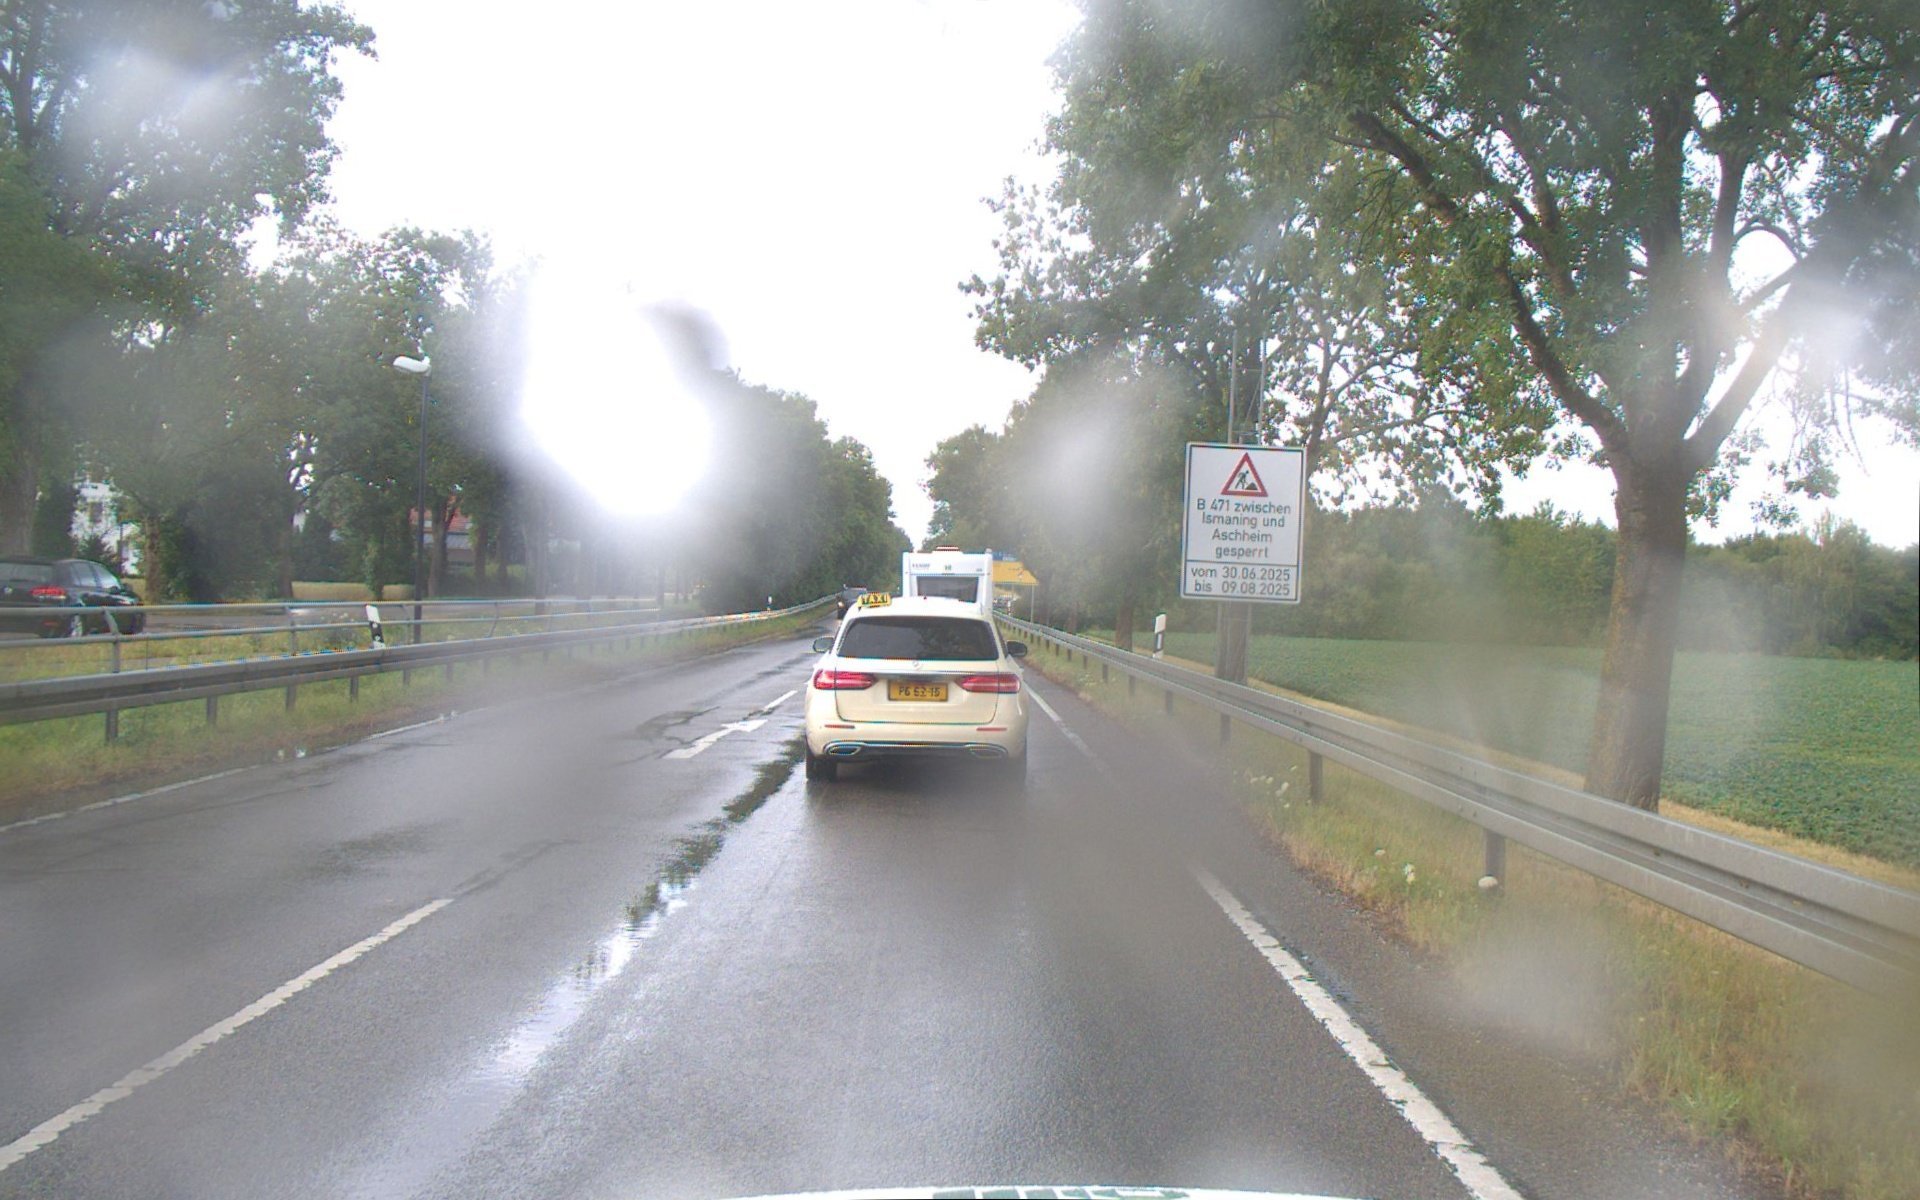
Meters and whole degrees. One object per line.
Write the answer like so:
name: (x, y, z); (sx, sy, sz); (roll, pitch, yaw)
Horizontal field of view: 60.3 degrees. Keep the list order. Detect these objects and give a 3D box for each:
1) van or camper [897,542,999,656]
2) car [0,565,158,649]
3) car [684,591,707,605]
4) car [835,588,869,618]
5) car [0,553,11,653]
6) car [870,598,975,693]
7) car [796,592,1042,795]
van or camper: (-0.265, -0.036, 42.968); (2.438, 2.732, 5.700); (1, 0, 0)
car: (-15.580, 0.099, 29.122); (1.257, 1.354, 3.894); (2, 0, -5)
car: (-28.094, -0.214, 175.688); (1.749, 1.440, 4.000); (2, 0, 0)
car: (-6.057, 0.136, 92.915); (1.728, 1.647, 3.999); (0, 0, -1)
car: (-15.084, 0.034, 22.701); (1.486, 1.517, 5.117); (2, 0, -5)
car: (-0.571, 0.710, 27.884); (1.630, 1.456, 4.000); (0, 0, 0)
car: (-0.286, 0.690, 14.337); (1.826, 1.502, 4.000); (0, 0, 0)
